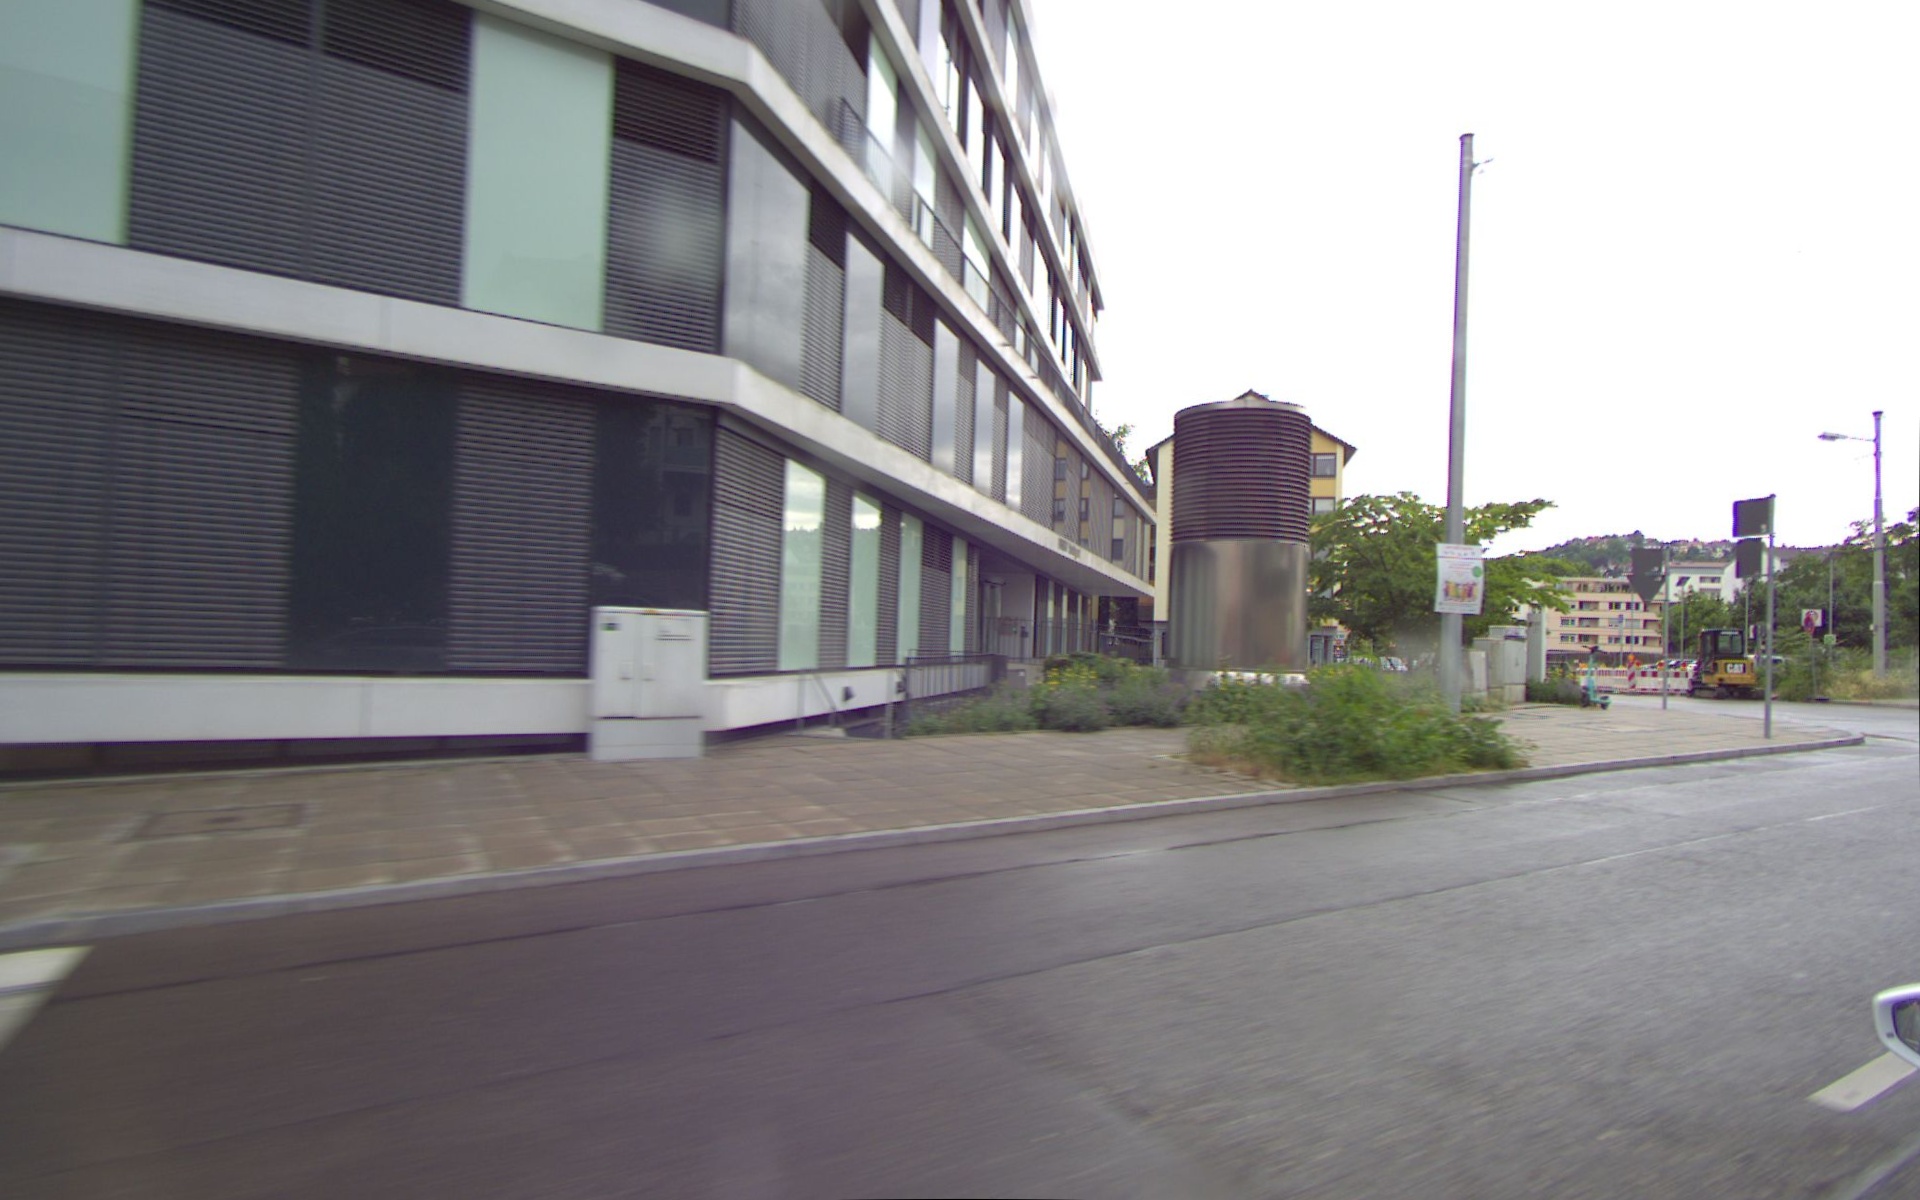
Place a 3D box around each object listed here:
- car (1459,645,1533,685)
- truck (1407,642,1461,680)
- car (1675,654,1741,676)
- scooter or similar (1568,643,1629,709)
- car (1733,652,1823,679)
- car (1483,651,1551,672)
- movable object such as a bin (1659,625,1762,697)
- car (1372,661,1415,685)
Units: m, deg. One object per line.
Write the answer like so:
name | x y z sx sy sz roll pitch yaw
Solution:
car | 34.919 4.253 65.649 2.620 2.444 5.739 -1 -3 10
truck | 38.418 4.951 81.504 2.724 2.969 5.295 -1 -3 12
car | 61.327 5.317 82.407 3.919 1.647 1.802 0 -2 11
scooter or similar | 12.763 1.512 20.085 1.217 1.265 0.494 3 -1 -30
car | 59.047 4.734 72.571 4.597 1.858 2.002 0 -2 11
car | 48.585 5.387 87.704 4.806 1.646 2.128 0 -5 14
movable object such as a bin | 28.254 2.240 37.995 1.638 2.491 5.289 1 -2 20
car | 28.889 4.846 67.045 1.763 1.530 4.004 -1 -4 12
